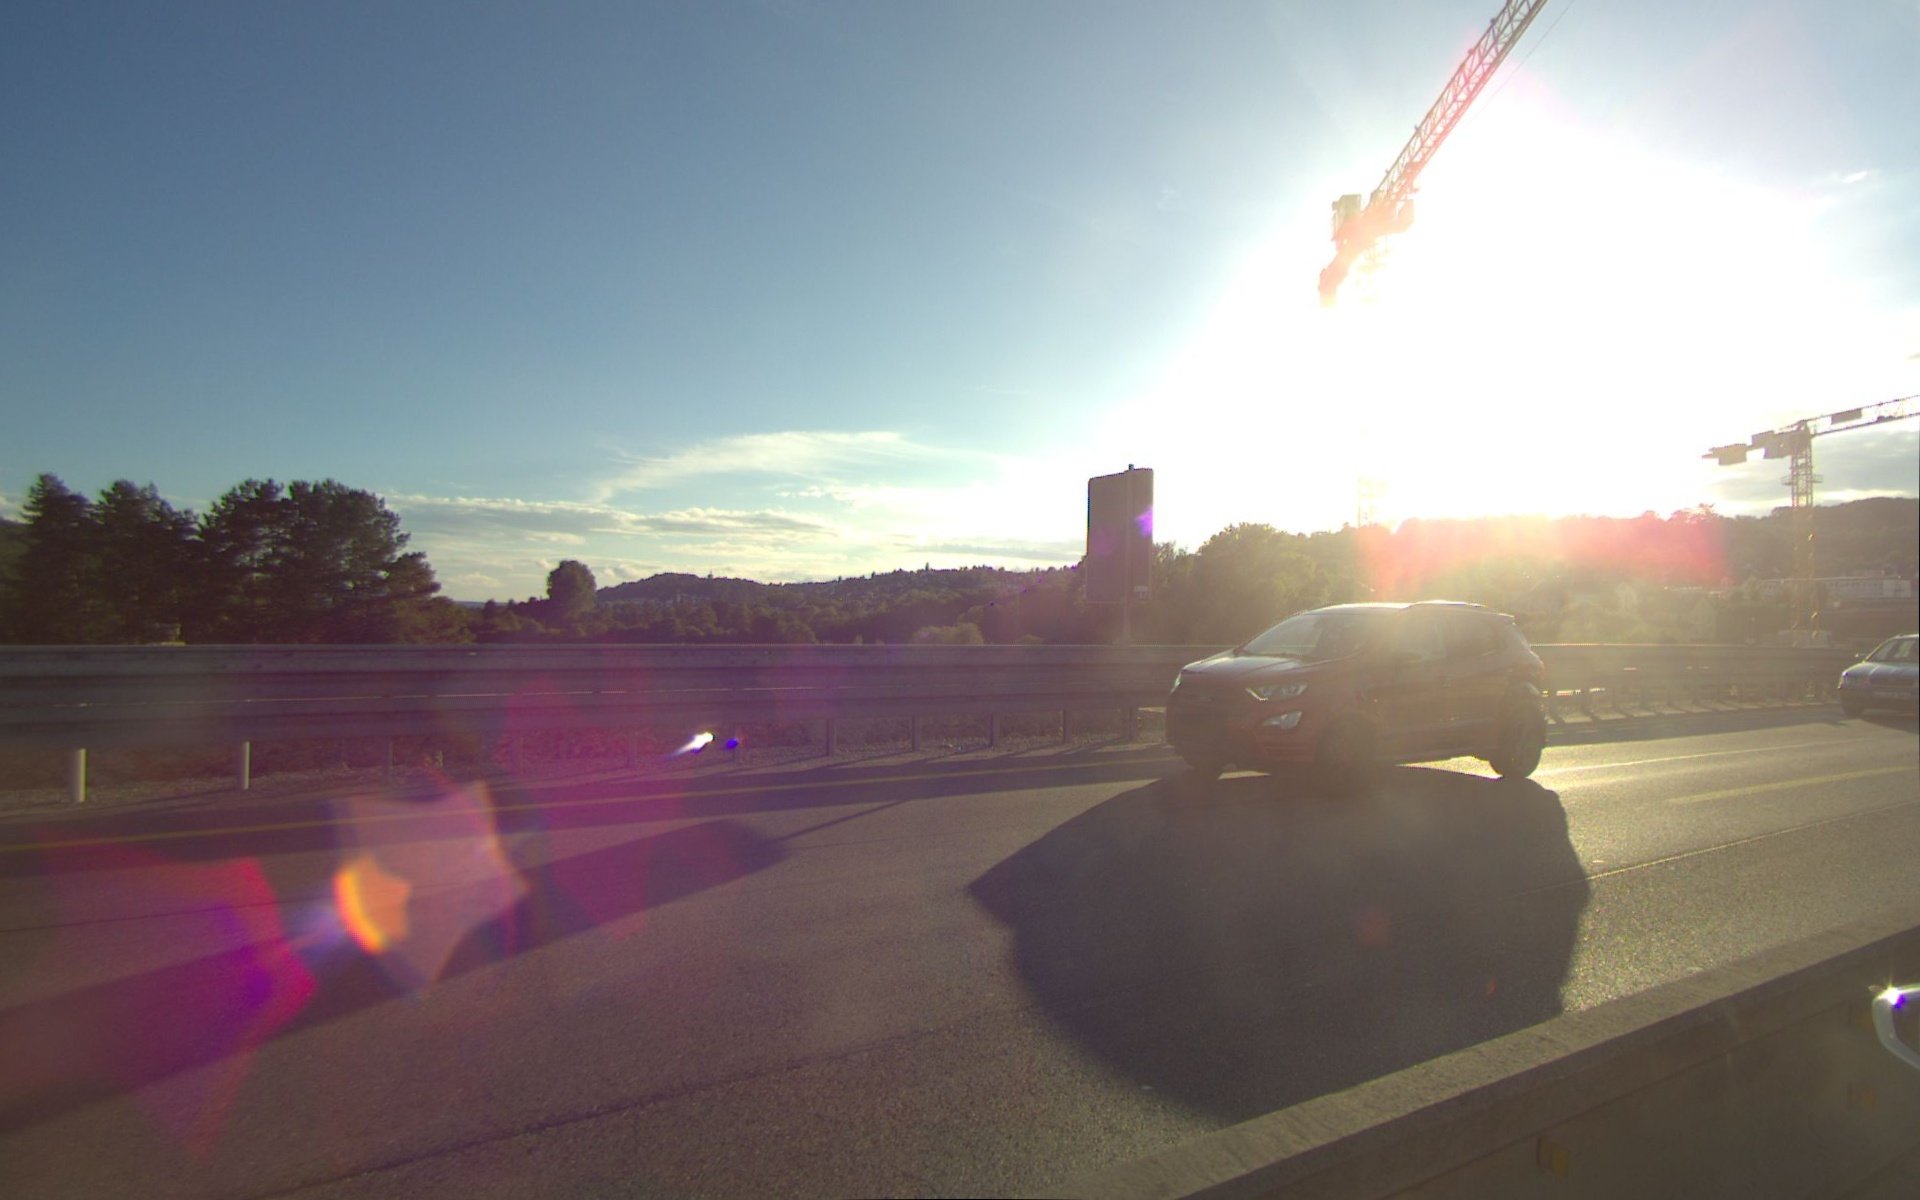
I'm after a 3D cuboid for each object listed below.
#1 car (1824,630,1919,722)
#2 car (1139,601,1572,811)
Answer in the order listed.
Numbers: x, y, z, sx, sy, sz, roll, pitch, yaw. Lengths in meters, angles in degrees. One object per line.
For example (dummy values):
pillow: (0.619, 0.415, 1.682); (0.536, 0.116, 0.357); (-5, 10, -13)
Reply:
car: (17.225, 1.277, 17.713); (4.526, 1.442, 1.668); (1, 0, -31)
car: (3.765, 0.844, 9.415); (3.954, 1.592, 1.771); (1, -1, -31)
